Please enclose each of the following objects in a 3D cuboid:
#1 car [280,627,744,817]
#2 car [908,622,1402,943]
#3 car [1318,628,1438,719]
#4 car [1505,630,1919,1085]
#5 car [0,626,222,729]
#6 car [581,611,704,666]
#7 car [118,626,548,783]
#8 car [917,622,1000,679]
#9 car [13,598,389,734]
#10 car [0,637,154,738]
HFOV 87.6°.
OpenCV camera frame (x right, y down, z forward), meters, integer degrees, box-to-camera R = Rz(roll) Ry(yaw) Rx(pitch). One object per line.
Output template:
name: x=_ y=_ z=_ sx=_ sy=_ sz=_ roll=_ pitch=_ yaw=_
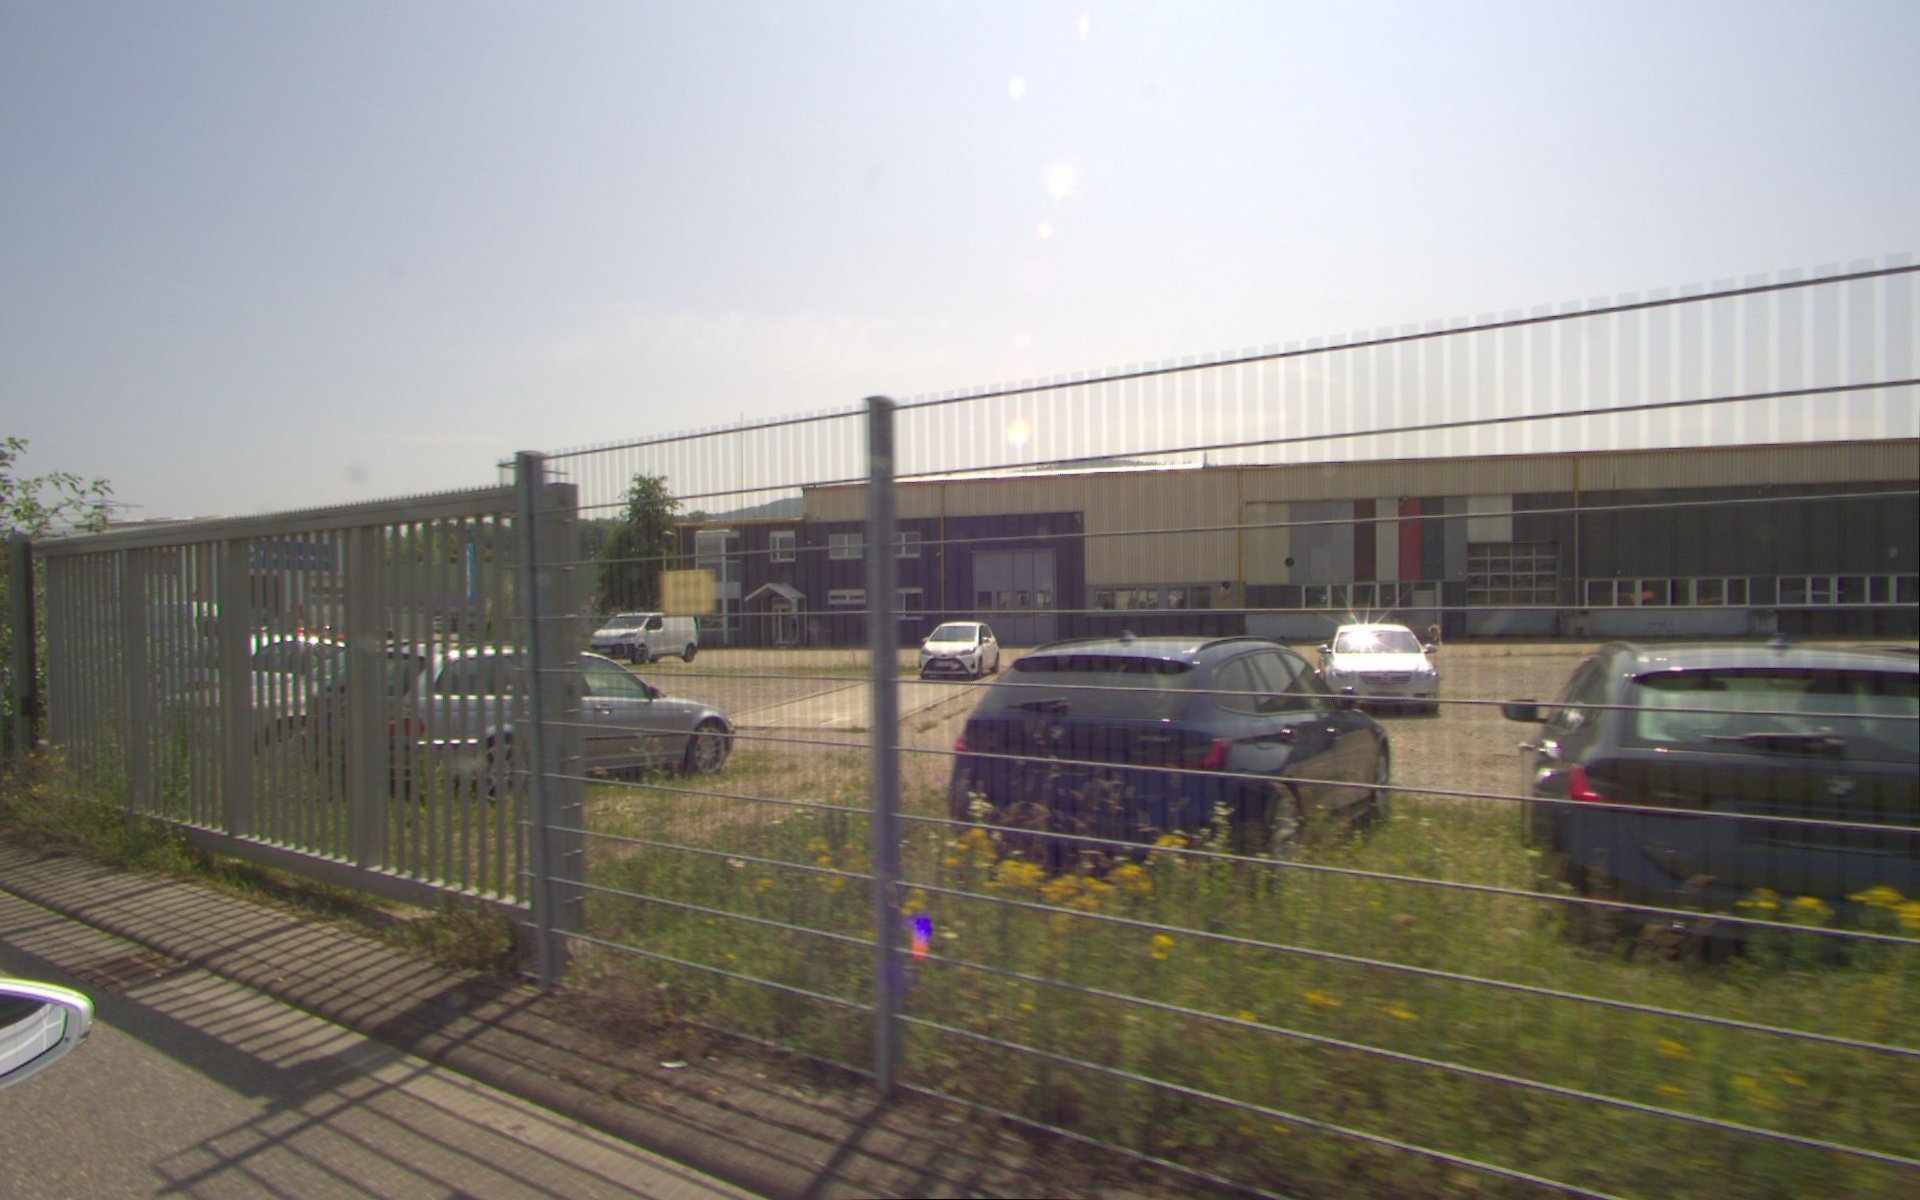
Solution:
car: x=-4.195 y=1.086 z=10.138 sx=1.613 sy=1.492 sz=4.163 roll=-1 pitch=-3 yaw=28
car: x=1.677 y=0.942 z=6.828 sx=1.743 sy=1.423 sz=4.502 roll=-1 pitch=-3 yaw=33
car: x=7.509 y=1.238 z=18.335 sx=1.597 sy=1.368 sz=4.517 roll=-1 pitch=-1 yaw=17
car: x=3.863 y=0.931 z=5.261 sx=1.612 sy=1.423 sz=4.510 roll=-1 pitch=-3 yaw=27
car: x=-13.392 y=1.150 z=14.862 sx=1.612 sy=1.405 sz=3.524 roll=-1 pitch=-5 yaw=29
car: x=-11.827 y=1.386 z=37.716 sx=1.824 sy=1.924 sz=5.069 roll=-1 pitch=-1 yaw=17
car: x=-6.678 y=0.996 z=11.054 sx=1.715 sy=1.371 sz=3.658 roll=-1 pitch=-1 yaw=30
car: x=0.022 y=1.363 z=28.030 sx=1.507 sy=1.454 sz=3.664 roll=-1 pitch=-1 yaw=13
car: x=-8.851 y=0.701 z=11.946 sx=1.504 sy=1.371 sz=3.265 roll=-1 pitch=-1 yaw=28
car: x=-15.404 y=1.403 z=15.921 sx=1.724 sy=1.496 sz=3.649 roll=-3 pitch=-2 yaw=24
